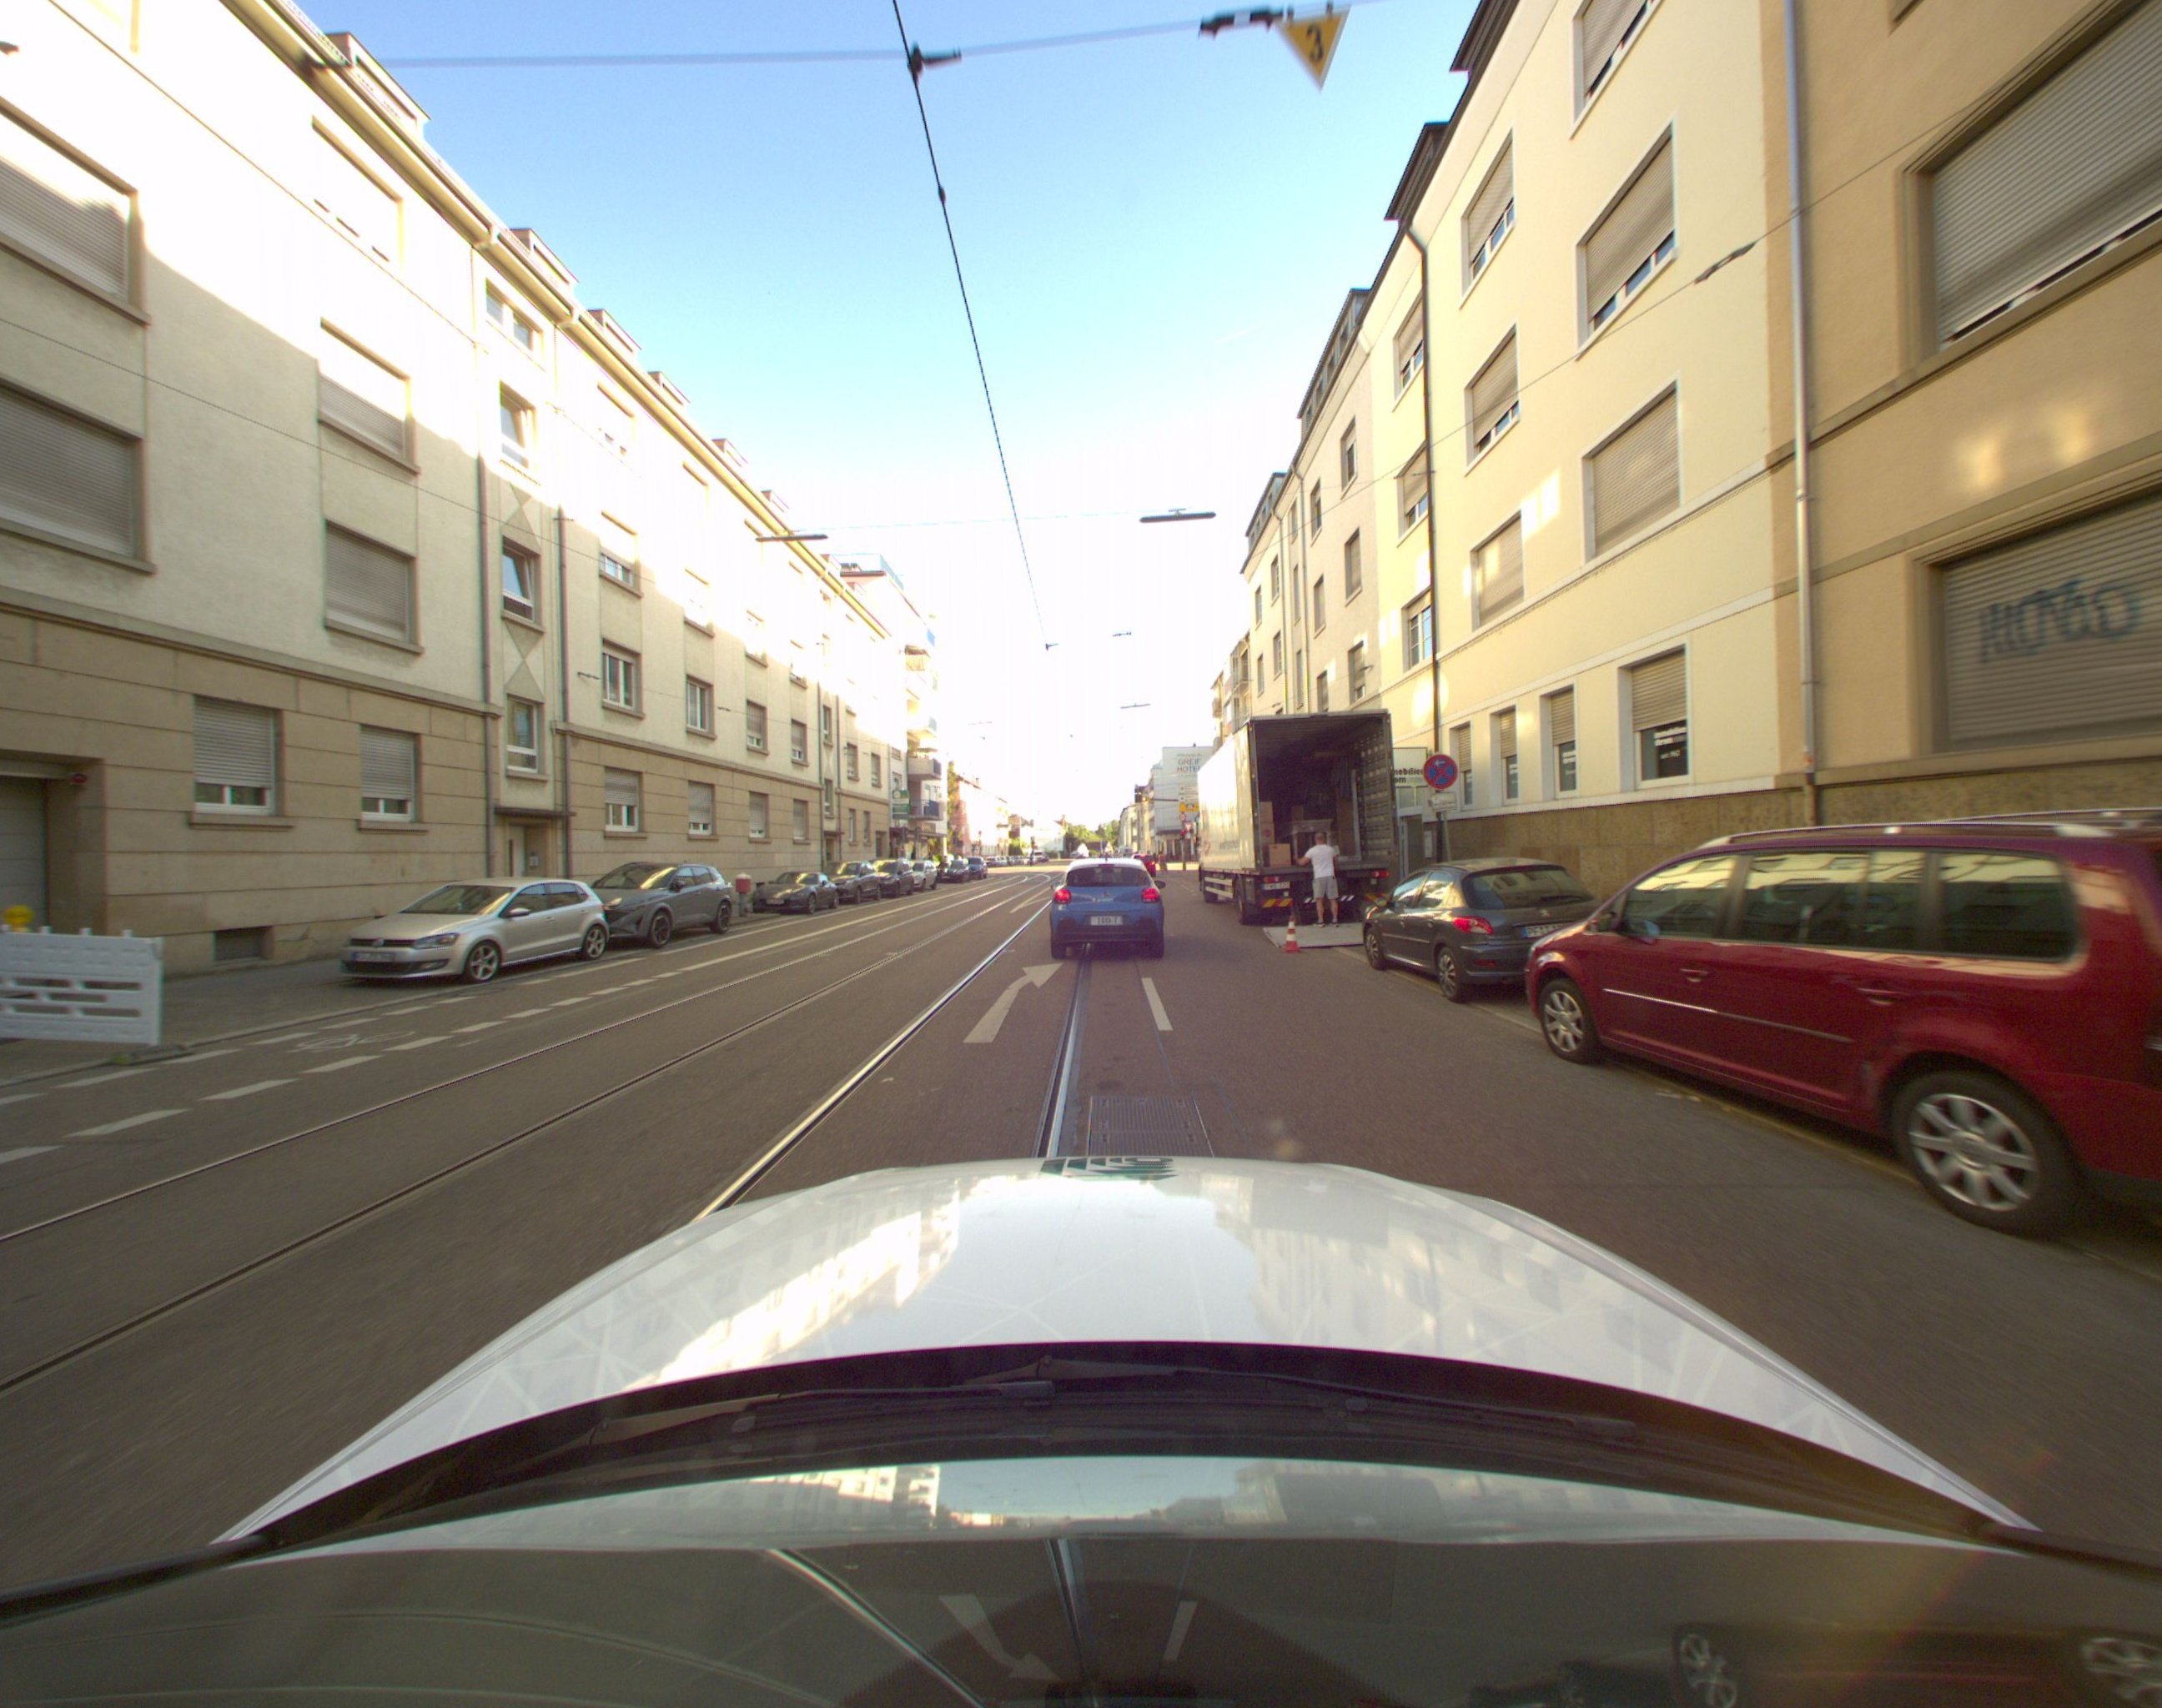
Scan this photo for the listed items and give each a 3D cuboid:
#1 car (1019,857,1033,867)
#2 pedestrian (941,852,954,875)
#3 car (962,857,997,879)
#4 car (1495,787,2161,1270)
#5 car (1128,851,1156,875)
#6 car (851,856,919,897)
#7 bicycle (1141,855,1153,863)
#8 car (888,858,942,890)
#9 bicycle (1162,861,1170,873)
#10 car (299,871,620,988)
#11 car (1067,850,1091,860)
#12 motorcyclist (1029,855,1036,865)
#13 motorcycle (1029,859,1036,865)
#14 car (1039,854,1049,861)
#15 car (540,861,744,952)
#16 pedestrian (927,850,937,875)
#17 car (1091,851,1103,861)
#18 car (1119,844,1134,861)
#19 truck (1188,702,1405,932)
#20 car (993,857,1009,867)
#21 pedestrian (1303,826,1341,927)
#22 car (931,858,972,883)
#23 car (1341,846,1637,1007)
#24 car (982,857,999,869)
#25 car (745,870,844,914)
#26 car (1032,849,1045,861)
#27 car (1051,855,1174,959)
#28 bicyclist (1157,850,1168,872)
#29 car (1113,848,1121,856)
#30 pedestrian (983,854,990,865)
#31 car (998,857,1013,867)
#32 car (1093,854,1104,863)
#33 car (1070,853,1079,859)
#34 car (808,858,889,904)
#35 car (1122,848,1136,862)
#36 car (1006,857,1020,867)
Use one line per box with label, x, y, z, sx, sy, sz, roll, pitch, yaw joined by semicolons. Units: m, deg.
car;-9.159;1.283;135.596;1.843;1.574;4.401;-1;0;0
pedestrian;-9.203;0.662;56.237;0.694;1.548;0.722;-2;0;5
car;-7.032;0.955;56.645;1.737;1.509;4.002;0;-1;2
car;4.330;0.543;4.731;1.587;1.609;4.245;-3;0;-1
car;4.038;0.561;53.534;1.730;1.420;4.005;-1;0;5
car;-8.222;0.908;34.572;1.693;1.615;4.246;0;-1;2
bicycle;8.610;0.633;105.872;1.496;0.957;0.703;-2;0;6
car;-8.167;0.954;40.369;1.693;1.509;4.387;0;-1;1
bicycle;6.291;0.971;60.339;0.496;0.864;1.750;-2;0;3
car;-9.150;1.014;12.503;1.693;1.416;4.002;2;0;2
car;-0.348;0.173;137.358;3.950;1.640;1.825;-2;0;44
motorcyclist;-6.435;0.777;108.163;0.715;1.378;0.913;-2;0;5
motorcycle;-6.424;1.065;108.317;0.613;0.864;1.673;-2;0;5
car;-8.356;0.718;186.175;2.014;1.525;4.001;-1;0;1
car;-8.902;0.981;17.026;1.693;1.568;4.408;-2;0;2
pedestrian;-12.218;0.719;66.699;0.684;2.013;0.486;-1;0;-1
car;2.601;0.324;131.121;1.986;1.508;4.002;-2;0;2
car;6.300;-0.156;112.530;1.986;2.325;4.001;-1;0;2
truck;4.695;-0.688;20.699;2.848;4.073;11.788;-2;0;3
car;-11.888;1.165;120.686;1.904;1.497;4.000;-2;0;1
pedestrian;4.367;0.400;14.759;0.511;1.775;0.416;-2;0;1
car;-7.941;0.997;50.396;1.693;1.509;4.314;0;-1;2
car;4.528;0.689;9.739;1.577;1.463;3.881;-3;0;1
car;-12.268;1.184;110.320;1.905;1.433;3.999;-2;0;-1
car;-8.762;1.120;25.233;1.693;1.216;3.785;0;-1;1
car;-8.352;0.258;160.621;2.199;2.251;4.677;-2;0;1
car;0.415;0.752;13.572;1.739;1.462;3.998;0;0;-1
bicyclist;6.018;0.506;60.023;0.723;1.646;0.791;-2;0;4
car;7.603;-0.374;171.618;1.682;1.618;4.002;-1;0;2
pedestrian;-13.748;0.786;118.864;0.839;1.690;0.739;-1;0;7
car;-11.761;1.250;127.487;1.904;1.497;4.000;-2;0;1
car;3.235;0.818;148.150;1.986;1.618;4.002;-1;0;2
car;-1.691;0.557;210.525;2.014;1.525;4.001;-1;0;1
car;-8.563;0.957;30.329;1.693;1.569;4.002;0;-1;2
car;6.320;0.170;107.591;1.726;1.750;3.215;-1;0;2
car;-11.558;1.388;139.231;1.904;1.497;4.000;-2;0;1
